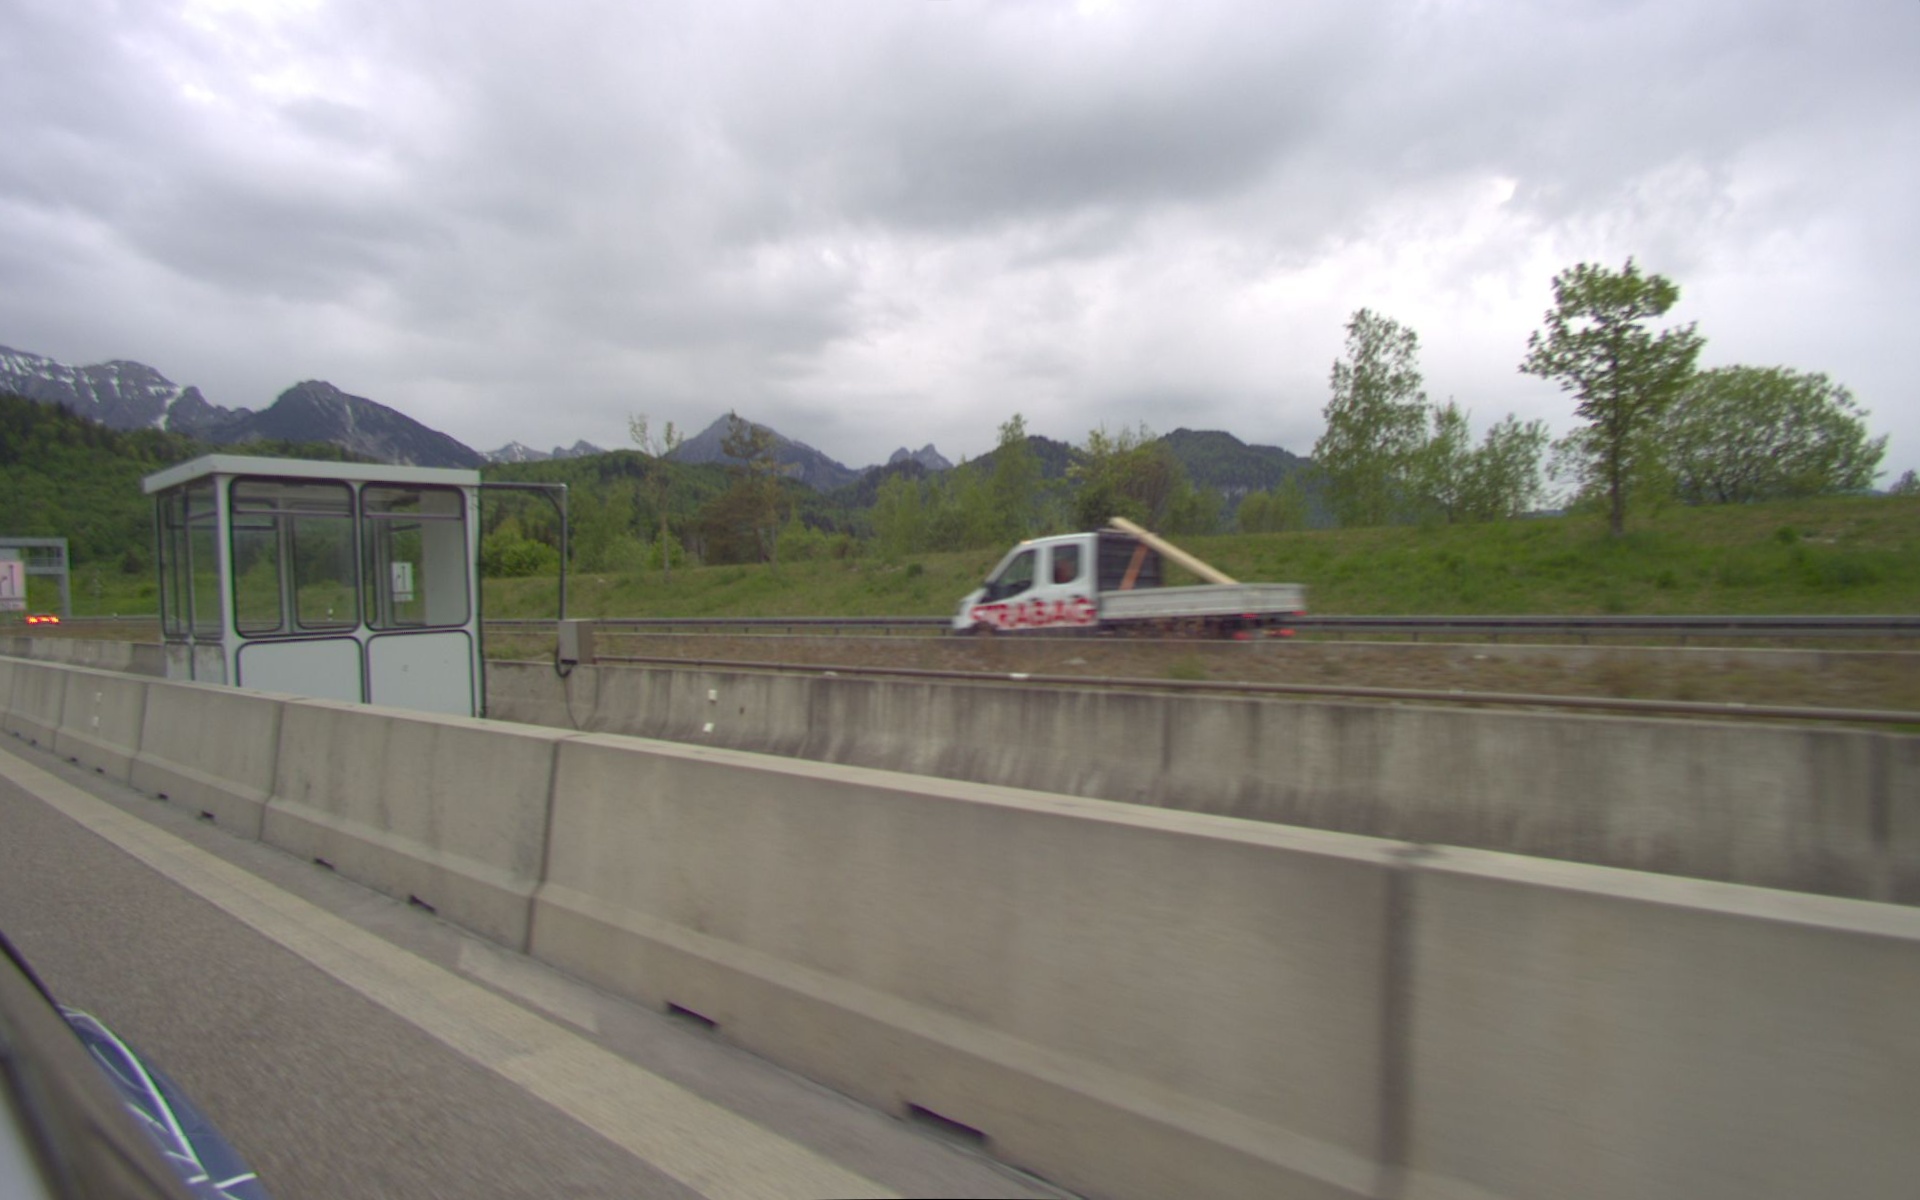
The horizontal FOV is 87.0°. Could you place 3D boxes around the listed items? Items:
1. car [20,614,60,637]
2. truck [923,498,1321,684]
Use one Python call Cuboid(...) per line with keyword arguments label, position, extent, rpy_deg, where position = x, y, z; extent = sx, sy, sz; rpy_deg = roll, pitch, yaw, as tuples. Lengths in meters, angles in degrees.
Cuboid(label="car", position=(-69.949, 1.933, 76.915), extent=(4.173, 1.586, 1.685), rpy_deg=(-1, 1, 40))
Cuboid(label="truck", position=(2.428, -0.091, 16.376), extent=(5.982, 2.498, 2.334), rpy_deg=(-1, 0, 39))
